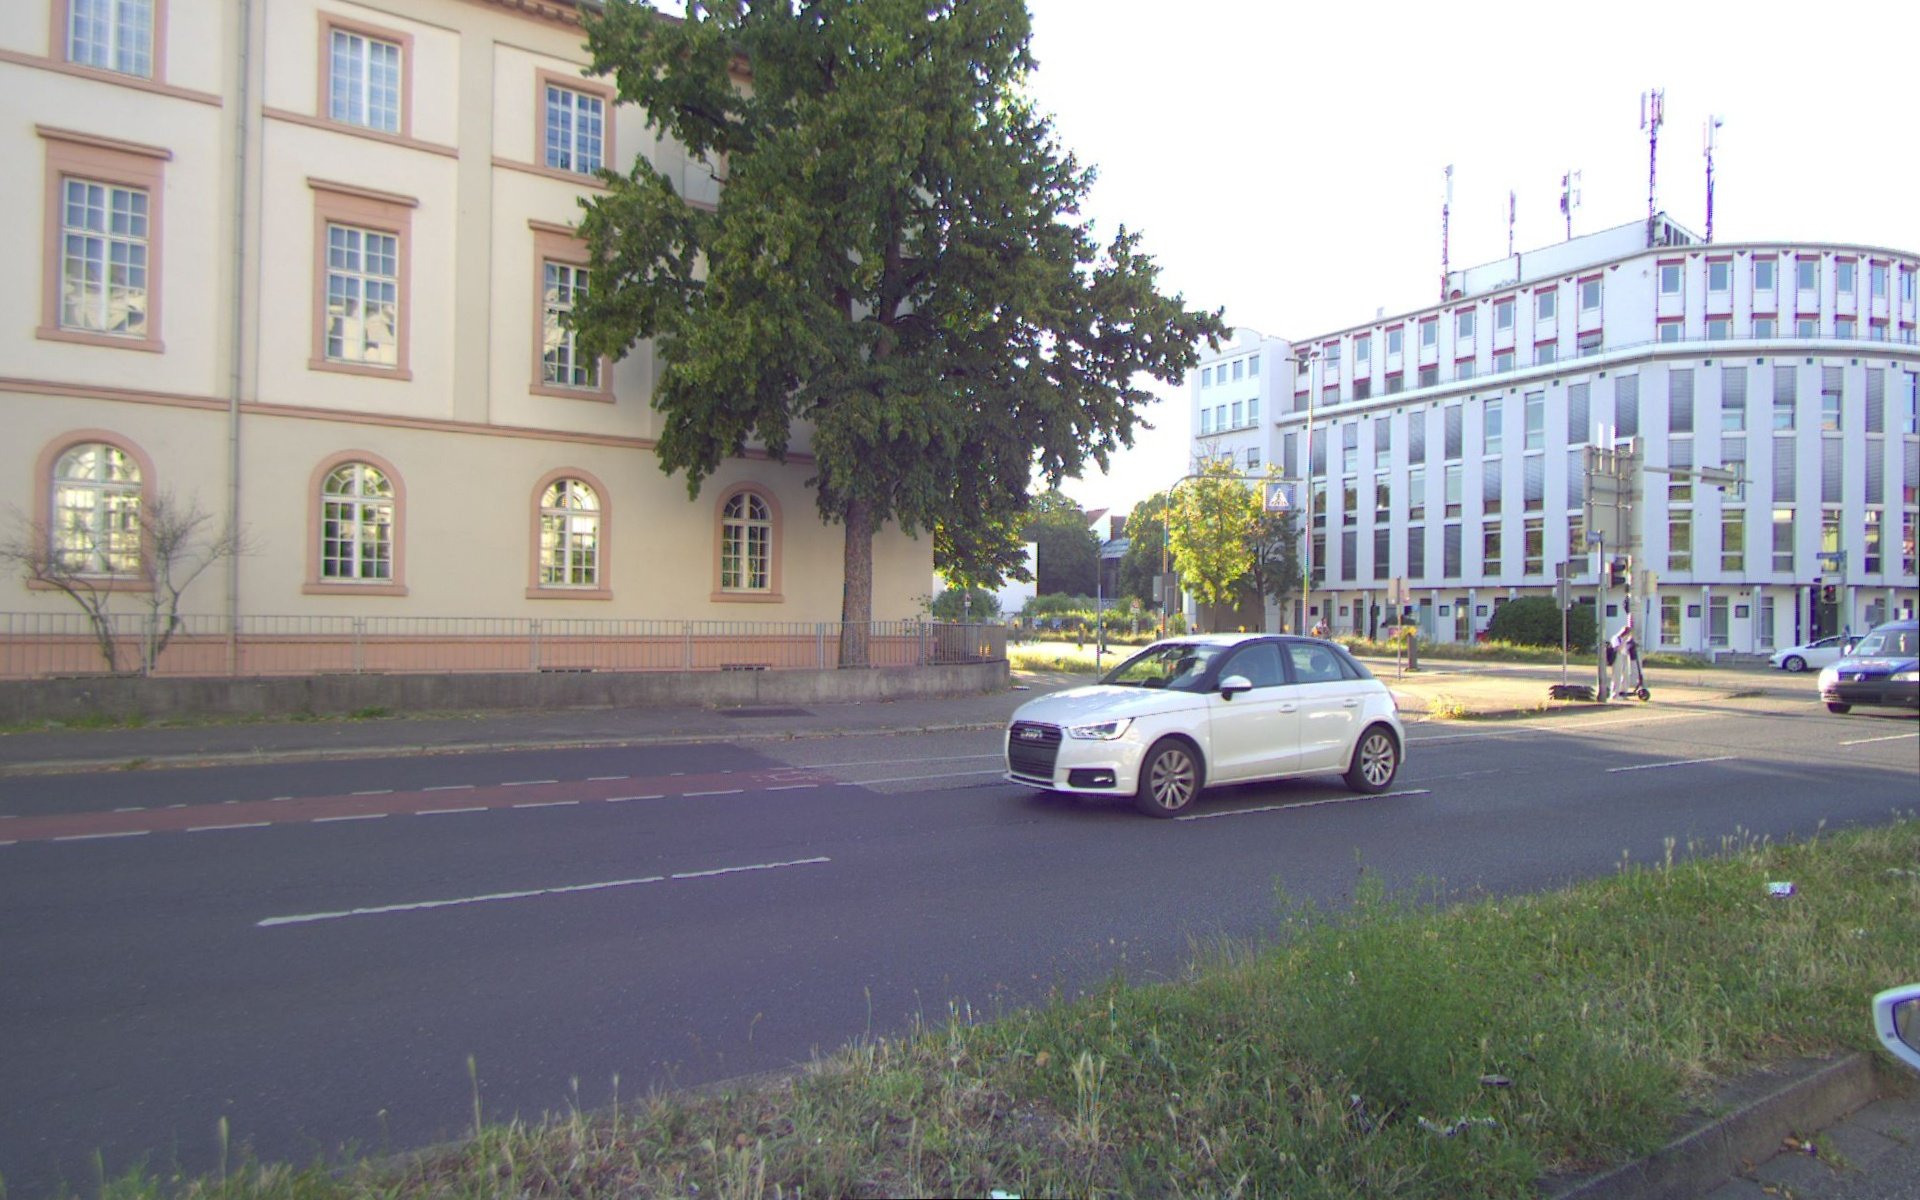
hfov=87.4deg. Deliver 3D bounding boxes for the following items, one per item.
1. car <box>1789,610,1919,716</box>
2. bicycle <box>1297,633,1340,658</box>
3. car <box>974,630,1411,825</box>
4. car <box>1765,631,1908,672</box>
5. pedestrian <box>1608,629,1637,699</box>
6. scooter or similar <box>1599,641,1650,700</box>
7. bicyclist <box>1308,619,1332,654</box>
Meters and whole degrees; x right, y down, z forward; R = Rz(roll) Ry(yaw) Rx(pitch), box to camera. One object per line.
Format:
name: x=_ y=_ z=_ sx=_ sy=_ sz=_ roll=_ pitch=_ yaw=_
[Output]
car: x=18.156 y=1.147 z=19.060 sx=4.167 sy=1.841 sz=1.990 roll=1 pitch=-1 yaw=-21
bicycle: x=15.716 y=2.000 z=44.073 sx=0.498 sy=1.056 sz=1.786 roll=1 pitch=-1 yaw=-35
car: x=2.109 y=0.989 z=8.934 sx=3.643 sy=1.406 sz=1.683 roll=1 pitch=-2 yaw=-30
car: x=32.729 y=1.903 z=37.591 sx=1.634 sy=1.390 sz=3.757 roll=1 pitch=-1 yaw=-35
pedestrian: x=14.700 y=1.408 z=22.300 sx=0.332 sy=1.525 sz=0.470 roll=1 pitch=-1 yaw=-41
scooter or similar: x=14.715 y=1.549 z=22.256 sx=0.368 sy=1.250 sz=0.885 roll=1 pitch=-1 yaw=-40
bicyclist: x=15.762 y=1.586 z=44.003 sx=0.453 sy=1.516 sz=0.879 roll=1 pitch=-1 yaw=-36
